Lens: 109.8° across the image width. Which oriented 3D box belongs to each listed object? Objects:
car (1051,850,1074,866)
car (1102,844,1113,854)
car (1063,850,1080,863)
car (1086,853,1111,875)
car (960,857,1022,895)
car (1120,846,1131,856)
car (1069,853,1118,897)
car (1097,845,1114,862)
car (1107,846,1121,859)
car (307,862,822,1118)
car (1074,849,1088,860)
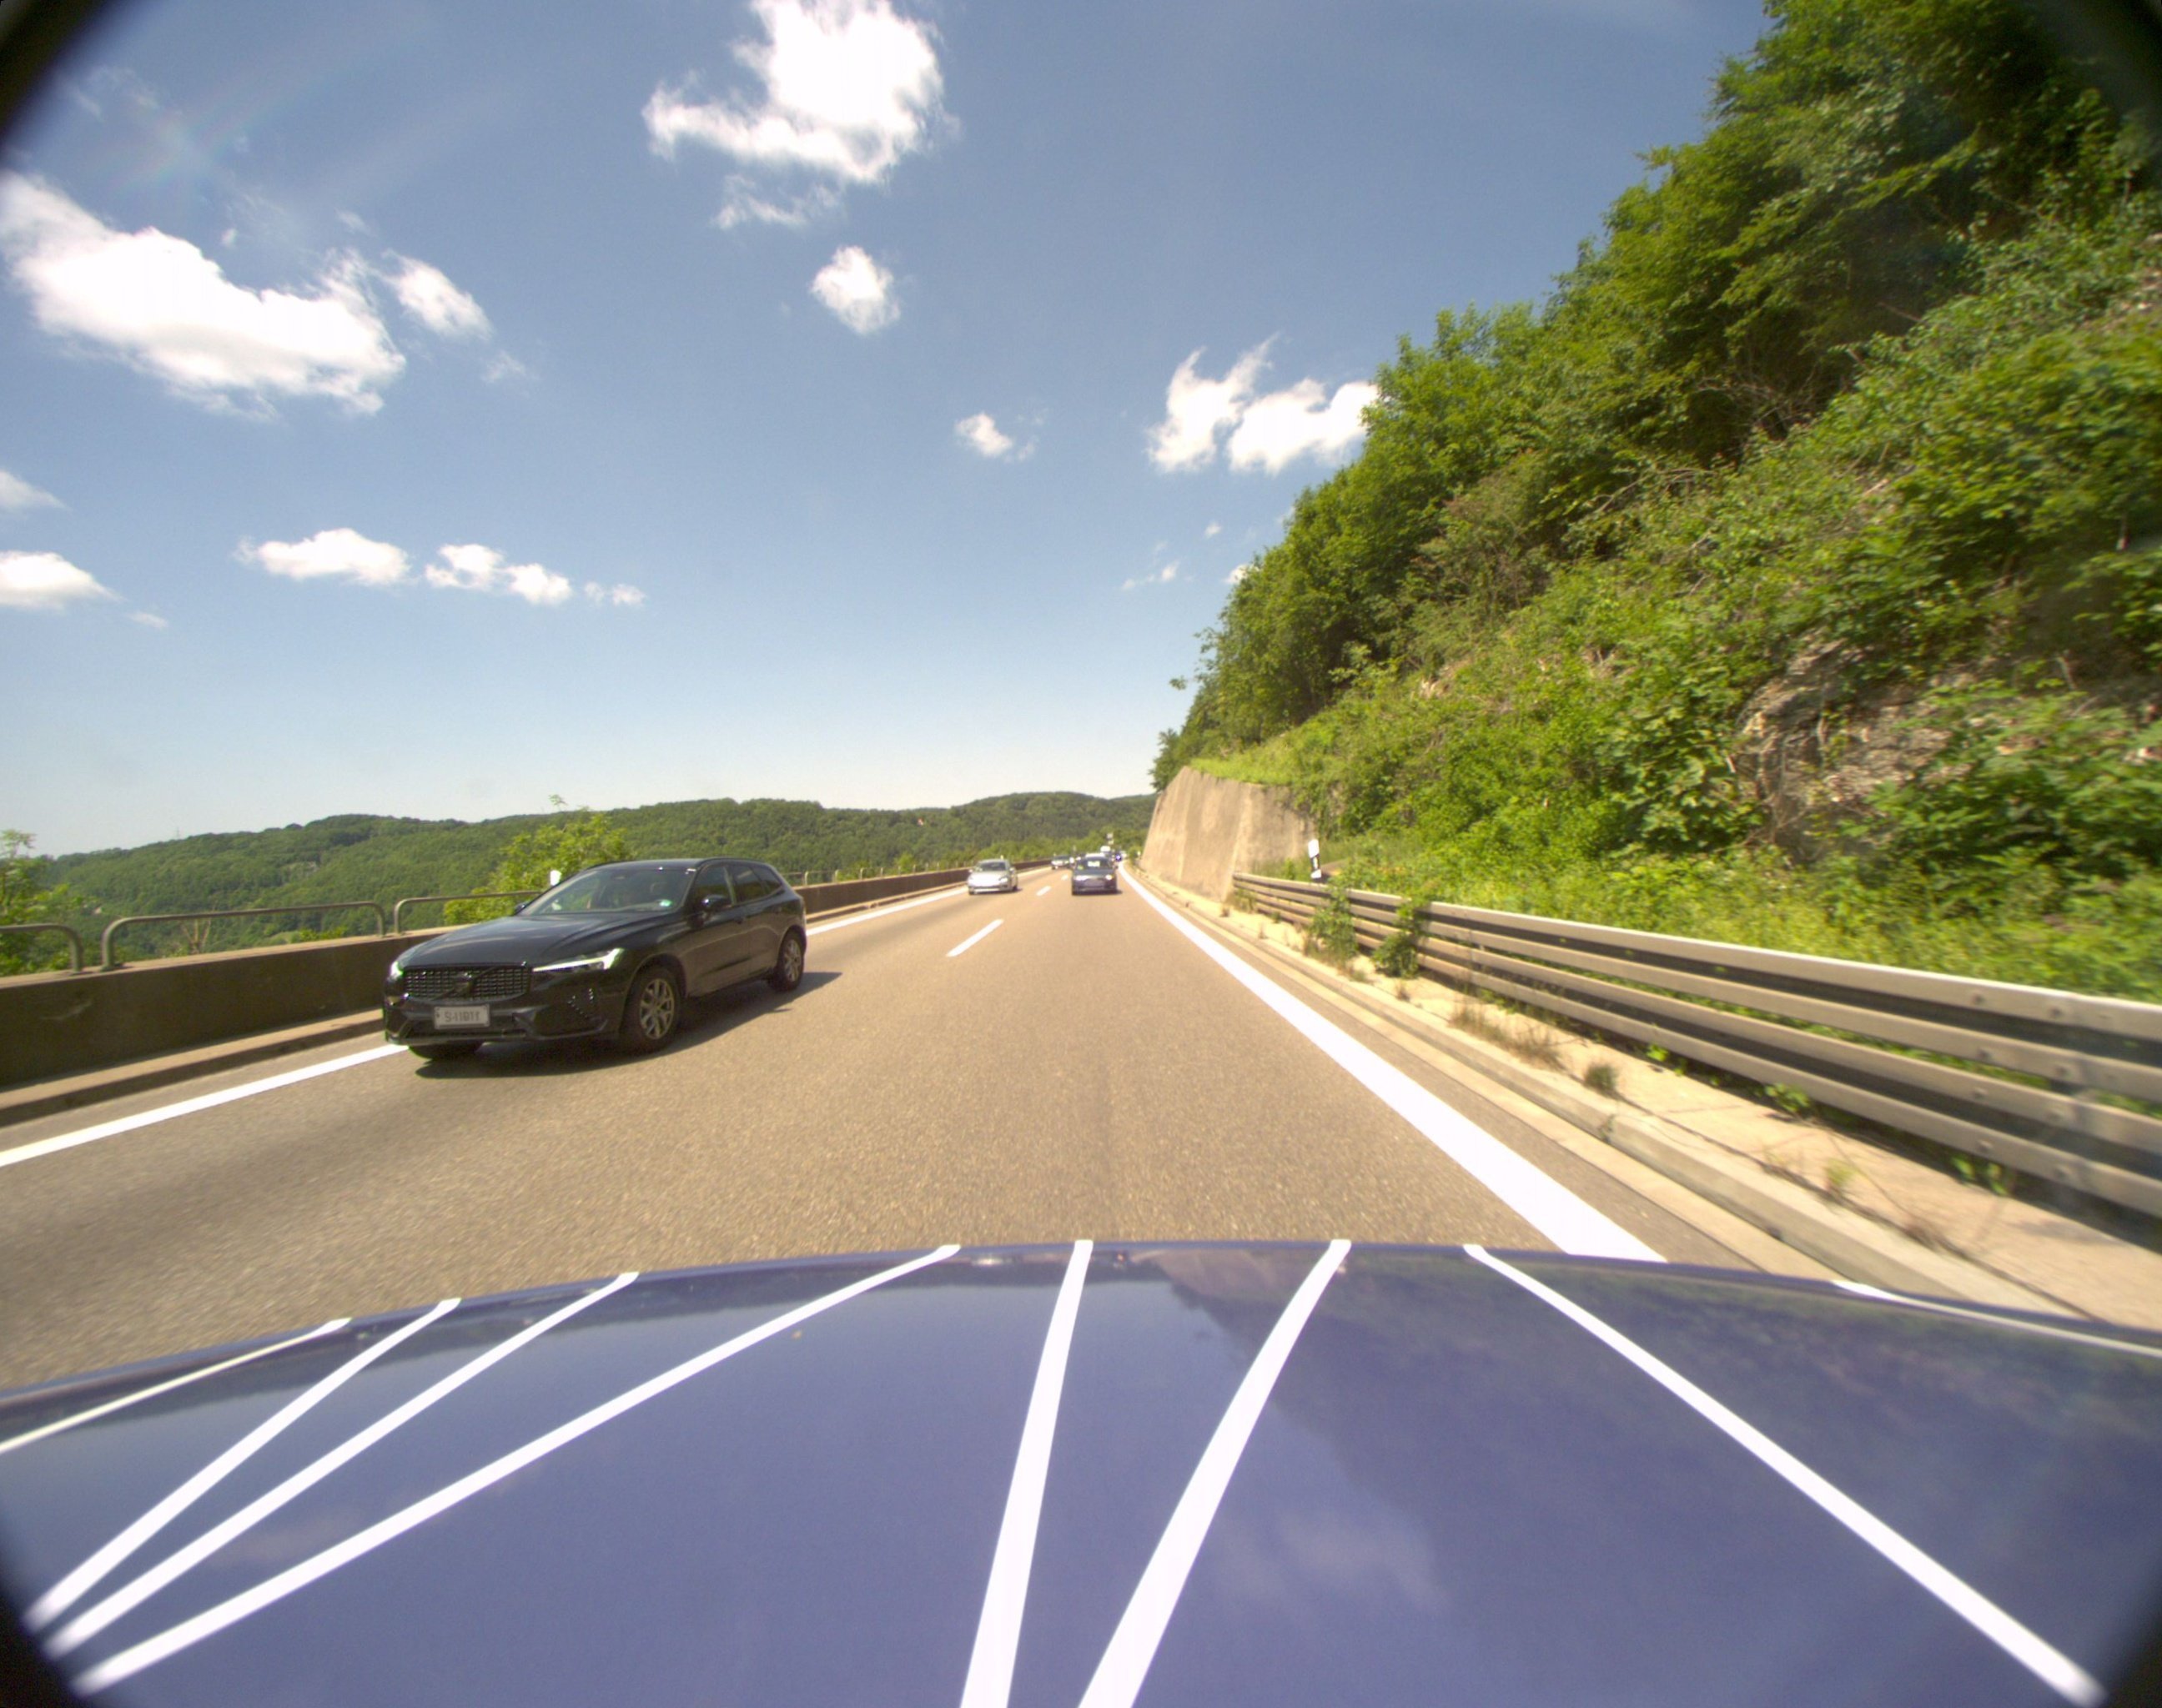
[{"bbox_3d":[-1.876,0.418,78.042,1.875,1.565,4.001,-2,0,5],"label":"car"},{"bbox_3d":[5.761,-1.053,166.349,1.997,2.002,4.002,-1,0,6],"label":"car"},{"bbox_3d":[-1.186,0.338,99.172,1.775,1.565,4.001,-2,0,5],"label":"car"},{"bbox_3d":[1.294,0.687,53.646,1.703,1.432,4.044,0,1,2],"label":"car"},{"bbox_3d":[-3.843,0.918,33.318,1.972,1.370,4.293,-2,1,3],"label":"car"},{"bbox_3d":[9.357,-0.677,158.576,1.997,2.002,4.002,-2,0,7],"label":"car"},{"bbox_3d":[0.546,0.747,28.992,1.669,1.415,4.044,-2,1,3],"label":"car"},{"bbox_3d":[3.003,-0.051,92.200,1.998,2.002,4.000,-2,0,2],"label":"car"},{"bbox_3d":[5.410,-0.316,123.905,1.998,2.002,4.001,-2,0,4],"label":"car"},{"bbox_3d":[-4.367,0.974,7.588,1.839,1.624,4.661,-1,1,1],"label":"car"},{"bbox_3d":[0.025,0.044,115.598,1.775,1.565,4.001,-2,0,5],"label":"car"}]
